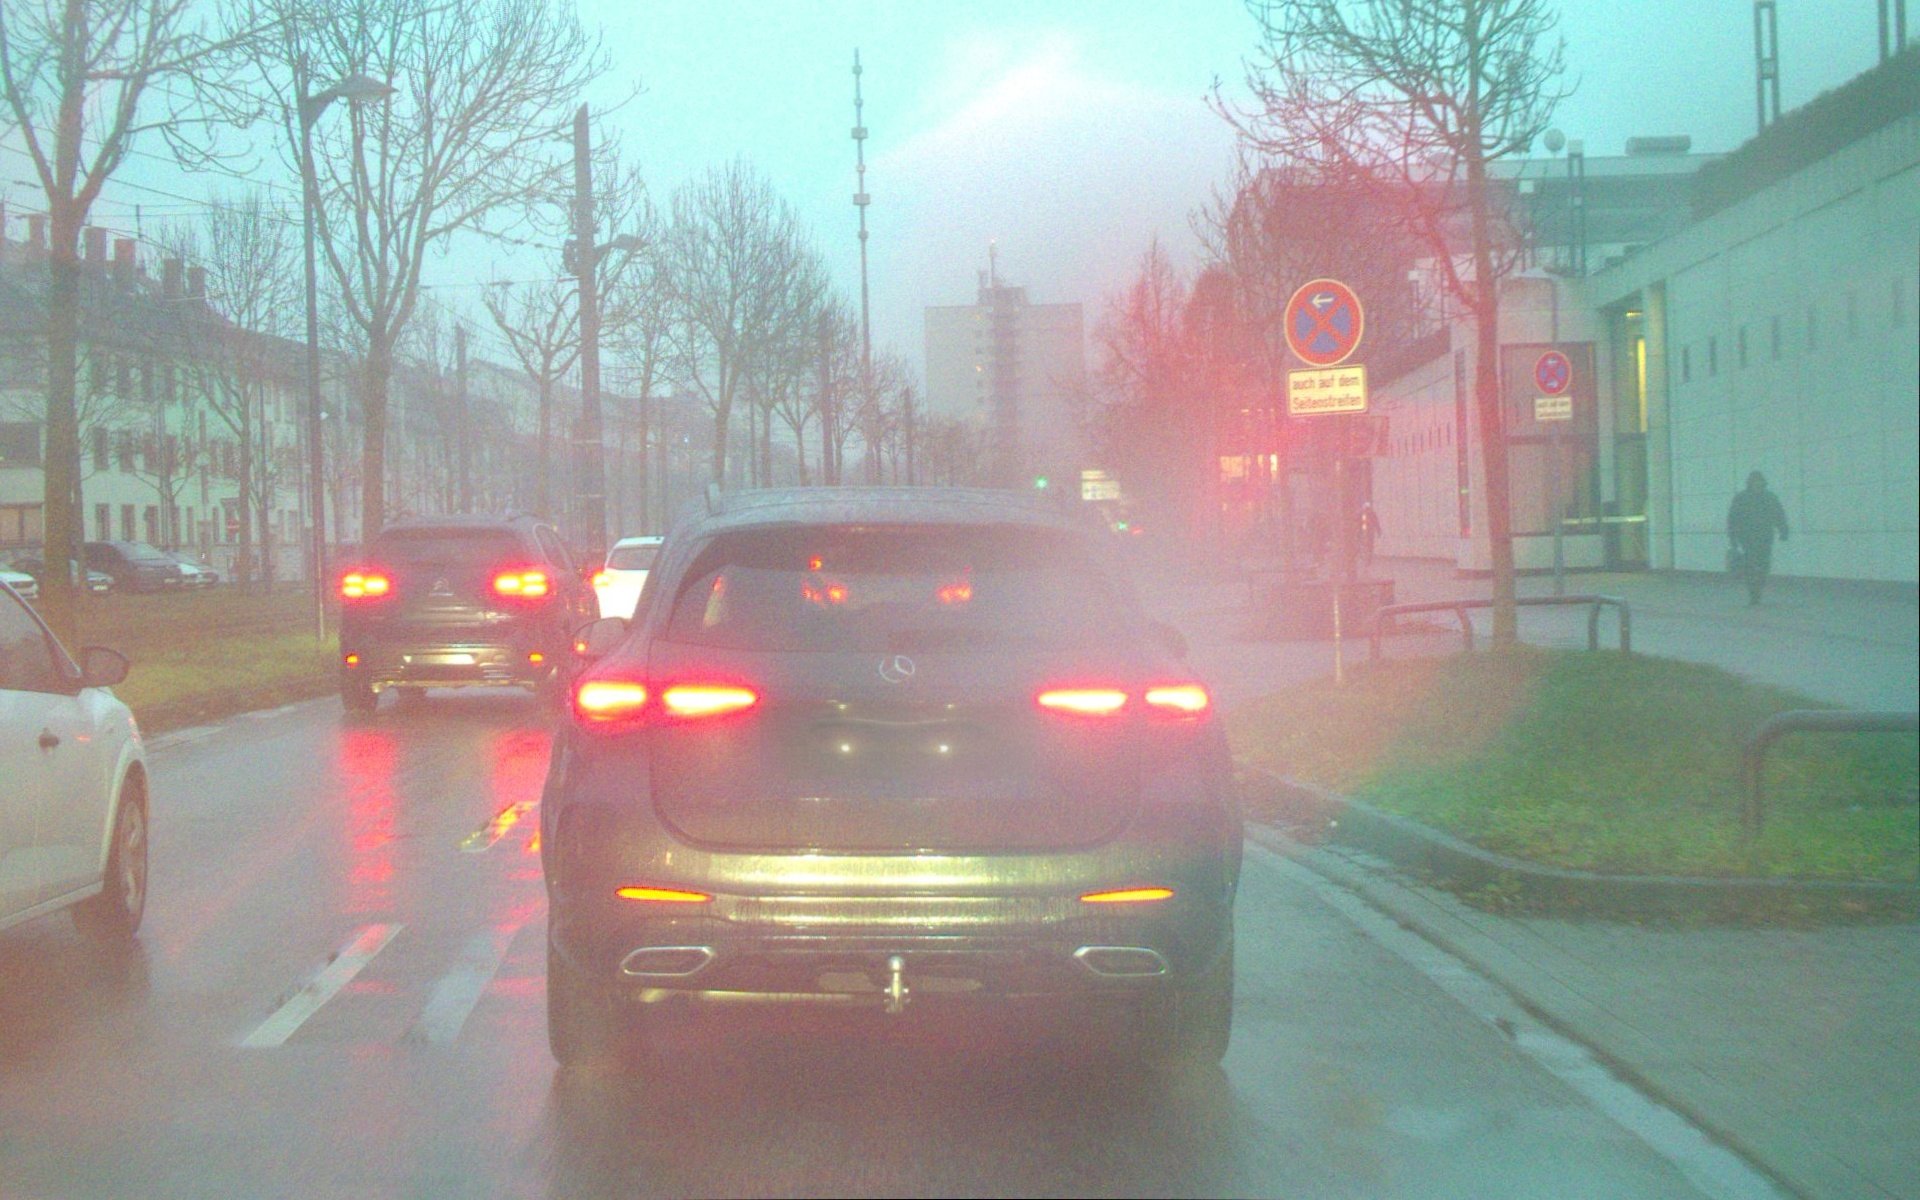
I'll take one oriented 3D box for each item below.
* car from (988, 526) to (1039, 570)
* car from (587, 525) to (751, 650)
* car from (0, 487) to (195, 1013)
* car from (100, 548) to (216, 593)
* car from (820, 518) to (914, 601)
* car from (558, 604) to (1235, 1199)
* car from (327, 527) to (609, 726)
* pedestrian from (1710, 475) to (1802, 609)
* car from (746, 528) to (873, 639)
[{"bbox_3d":[2.207,-2.143,140.842,1.993,1.723,4.000,-2,1,2],"label":"car"},{"bbox_3d":[-3.850,-0.200,46.093,1.672,1.594,4.053,0,1,3],"label":"car"},{"bbox_3d":[-3.763,0.445,11.230,1.672,1.594,4.054,0,1,-1],"label":"car"},{"bbox_3d":[-26.438,-0.971,113.264,3.552,1.349,1.778,-1,2,36],"label":"car"},{"bbox_3d":[-2.312,-1.004,86.514,1.994,2.007,4.000,1,0,3],"label":"car"},{"bbox_3d":[-0.070,0.849,10.537,1.672,1.594,4.053,0,1,3],"label":"car"},{"bbox_3d":[-4.166,0.179,29.662,1.672,1.594,4.053,0,1,3],"label":"car"},{"bbox_3d":[9.838,-0.719,42.510,0.937,1.612,0.695,-2,1,-1],"label":"pedestrian"},{"bbox_3d":[-2.828,-0.318,65.352,1.994,2.007,4.000,1,0,4],"label":"car"}]
